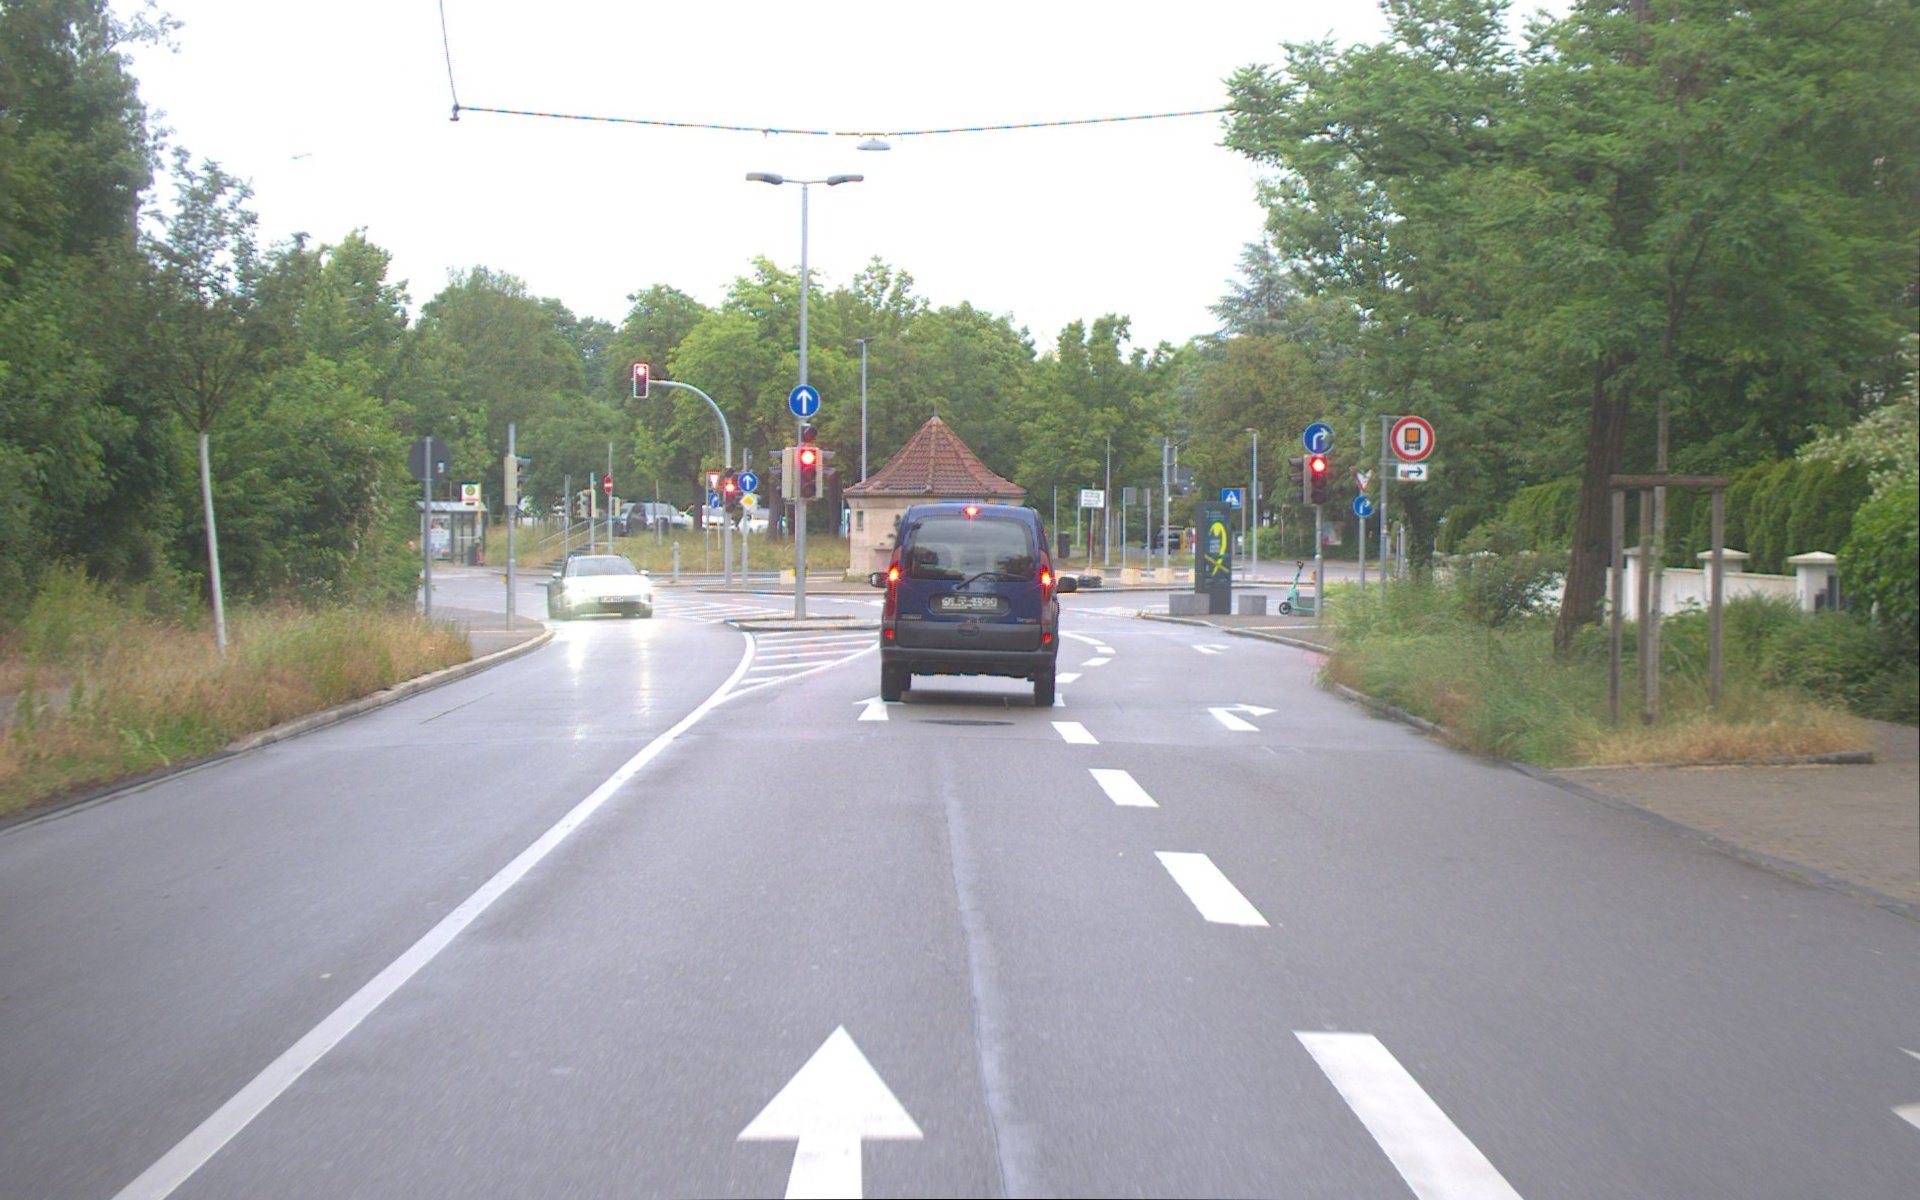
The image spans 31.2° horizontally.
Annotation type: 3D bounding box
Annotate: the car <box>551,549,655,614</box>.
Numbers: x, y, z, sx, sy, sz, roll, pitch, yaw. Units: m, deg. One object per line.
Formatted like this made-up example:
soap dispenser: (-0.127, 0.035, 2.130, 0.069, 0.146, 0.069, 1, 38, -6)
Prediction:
car: (-7.910, -0.436, 75.890, 1.993, 1.307, 4.361, -2, 1, -9)

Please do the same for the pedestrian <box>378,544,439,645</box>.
pedestrian: (-11.088, -0.110, 69.160, 1.088, 2.007, 1.000, 1, 0, -4)

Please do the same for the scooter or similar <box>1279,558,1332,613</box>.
scooter or similar: (7.780, -0.325, 77.456, 1.149, 1.215, 0.406, 1, 0, 0)

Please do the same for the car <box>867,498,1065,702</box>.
car: (0.015, -0.037, 32.795, 1.731, 1.780, 4.000, 1, 1, -1)
